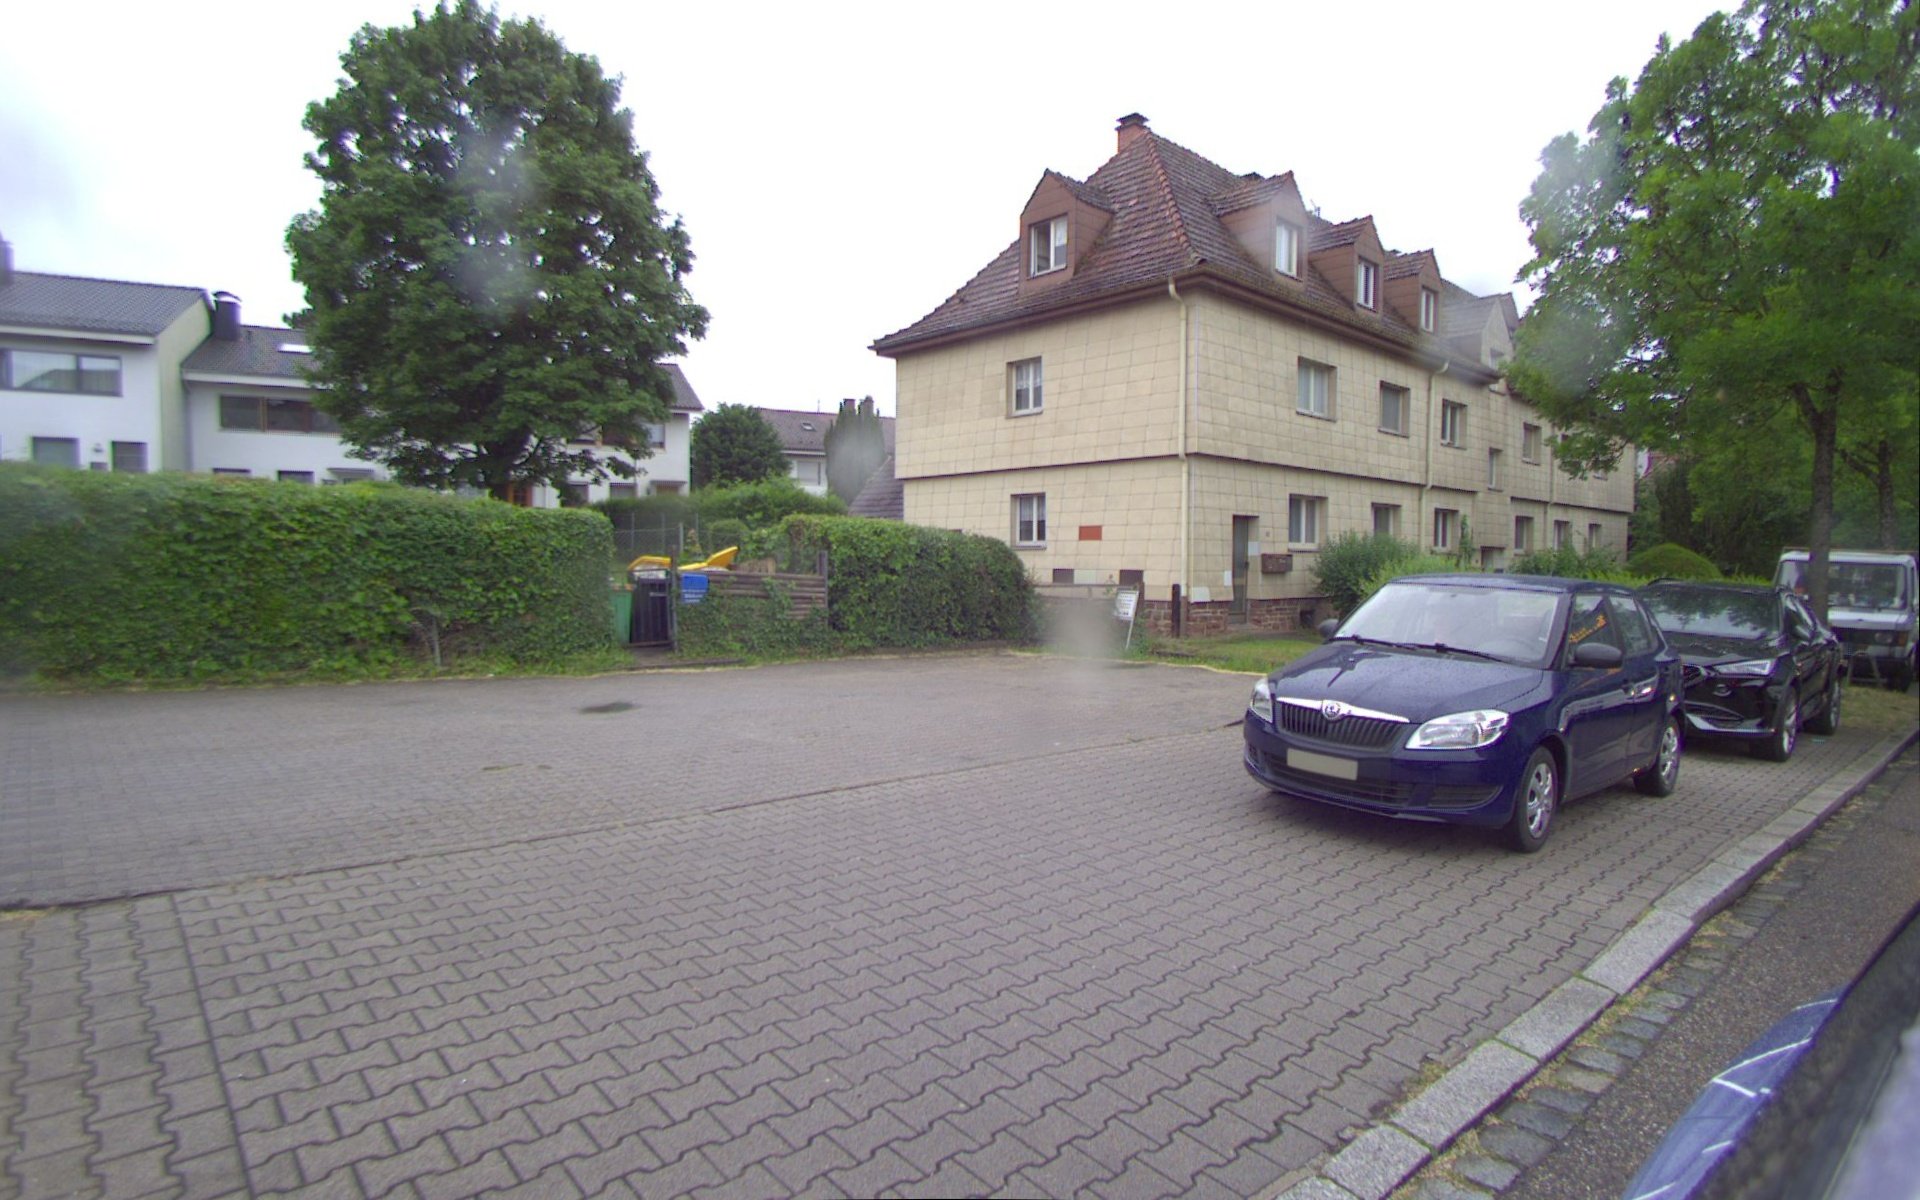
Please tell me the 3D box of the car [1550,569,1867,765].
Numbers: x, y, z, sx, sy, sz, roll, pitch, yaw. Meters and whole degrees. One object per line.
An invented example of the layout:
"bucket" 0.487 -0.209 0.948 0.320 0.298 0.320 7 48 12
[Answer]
"car" 7.448 0.487 9.934 3.932 1.481 1.719 -1 4 -42

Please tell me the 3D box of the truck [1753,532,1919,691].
"truck" 15.085 0.129 16.687 5.653 2.224 1.998 0 2 -40

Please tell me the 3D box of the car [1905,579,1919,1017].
"car" 5.585 0.688 4.273 4.240 1.548 1.881 0 -1 -41

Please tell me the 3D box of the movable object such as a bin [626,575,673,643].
"movable object such as a bin" -4.434 0.125 14.456 0.441 0.954 0.539 0 0 -45

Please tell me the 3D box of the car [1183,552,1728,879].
"car" 3.370 0.480 6.551 3.930 1.441 1.719 -1 4 -41

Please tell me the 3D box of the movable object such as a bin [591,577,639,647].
"movable object such as a bin" -4.800 0.158 14.087 0.441 0.954 0.539 0 0 -45
